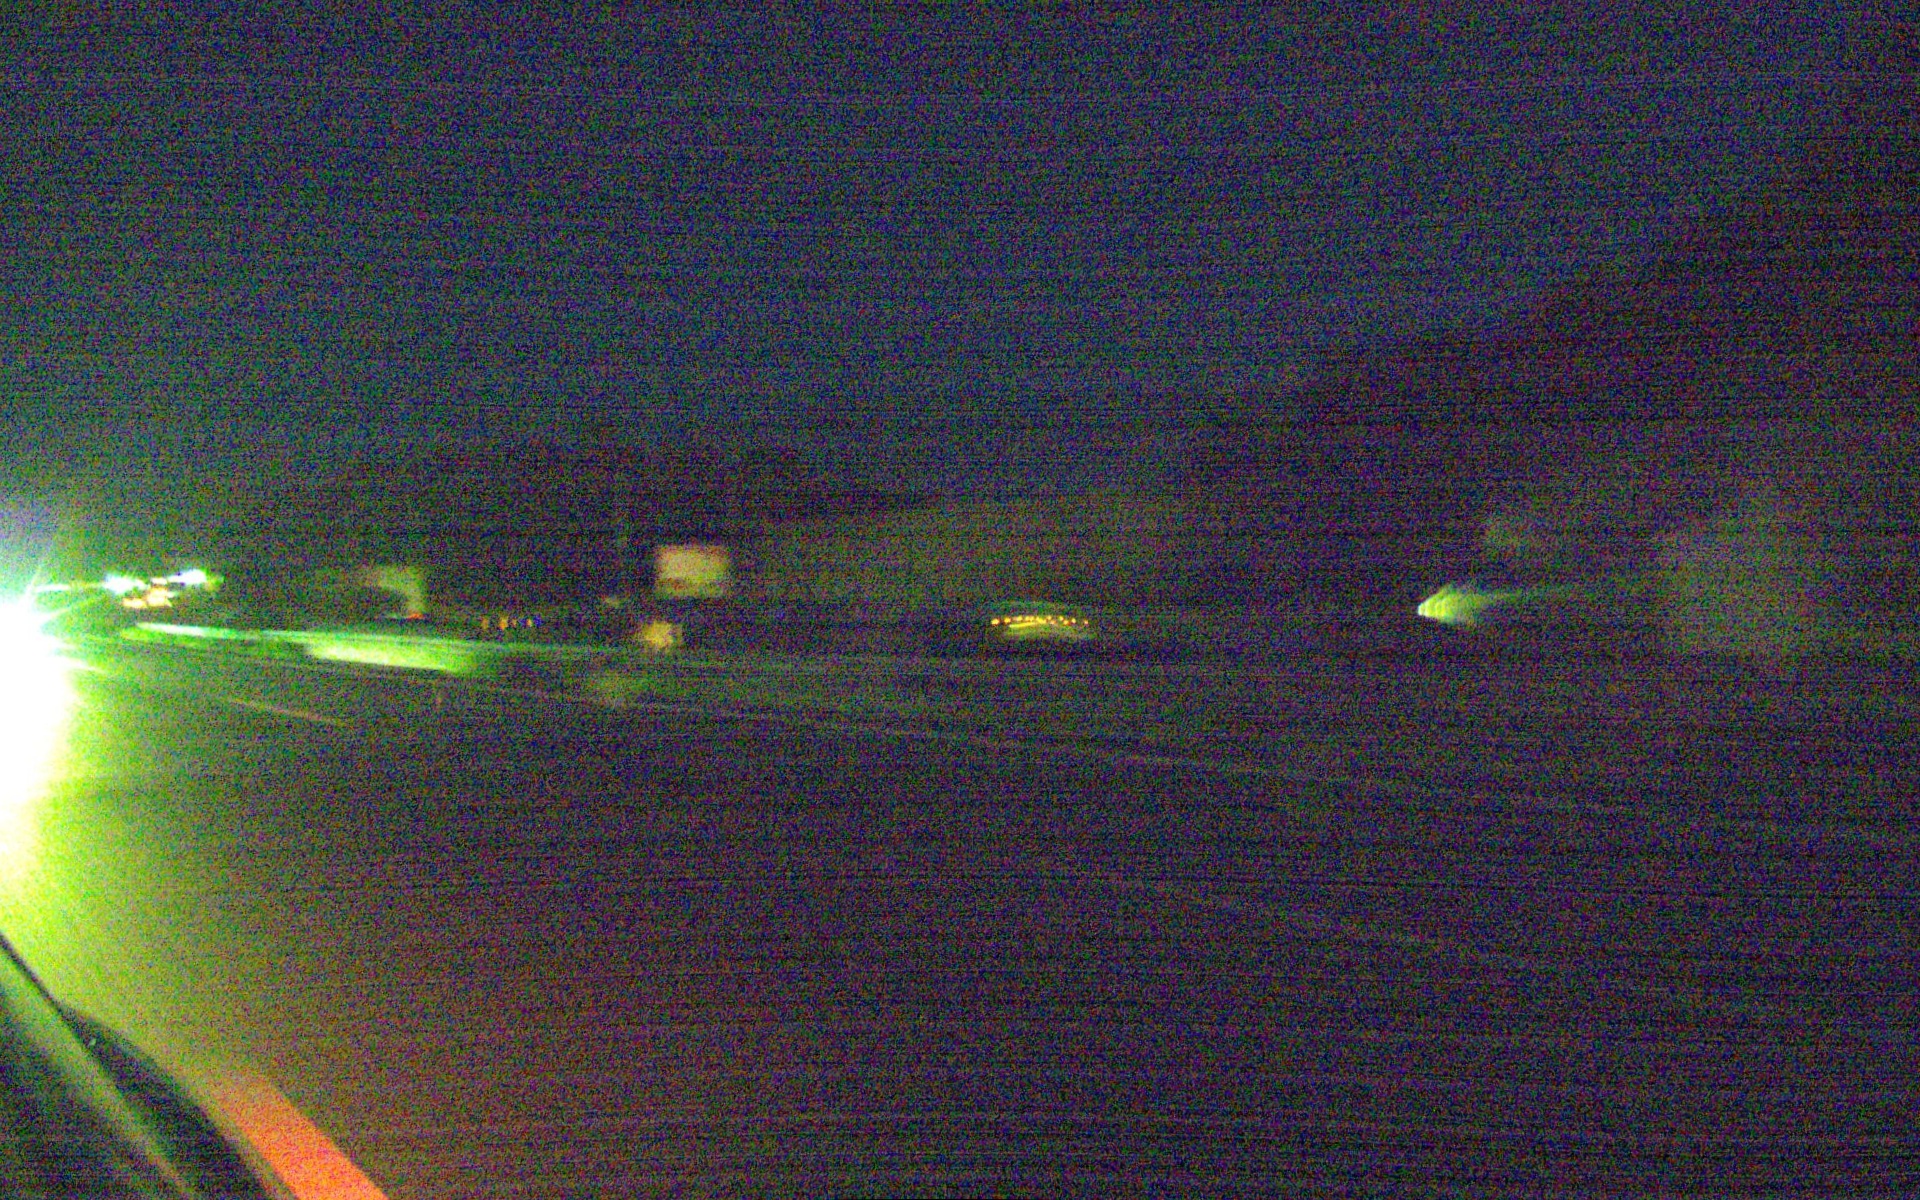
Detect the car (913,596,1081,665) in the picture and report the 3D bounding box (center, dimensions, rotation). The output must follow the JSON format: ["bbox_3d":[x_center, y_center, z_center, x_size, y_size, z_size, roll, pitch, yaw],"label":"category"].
[{"bbox_3d":[1.045,0.876,30.021,4.509,1.890,2.373,-1,-1,41],"label":"car"}]

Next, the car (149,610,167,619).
[{"bbox_3d":[-133.468,2.425,168.463,1.970,1.519,4.003,0,0,-45],"label":"car"}]

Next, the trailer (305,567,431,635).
[{"bbox_3d":[-40.016,0.165,68.056,14.126,4.121,3.559,-1,-1,44],"label":"trailer"}]

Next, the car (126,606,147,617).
[{"bbox_3d":[-122.180,1.717,150.142,1.970,1.519,4.003,0,0,-45],"label":"car"}]

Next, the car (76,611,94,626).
[{"bbox_3d":[-102.890,2.140,118.970,1.517,1.609,4.005,-2,3,-42],"label":"car"}]

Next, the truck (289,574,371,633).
[{"bbox_3d":[-45.784,0.276,73.509,5.993,4.130,3.551,-1,-1,42],"label":"truck"}]
